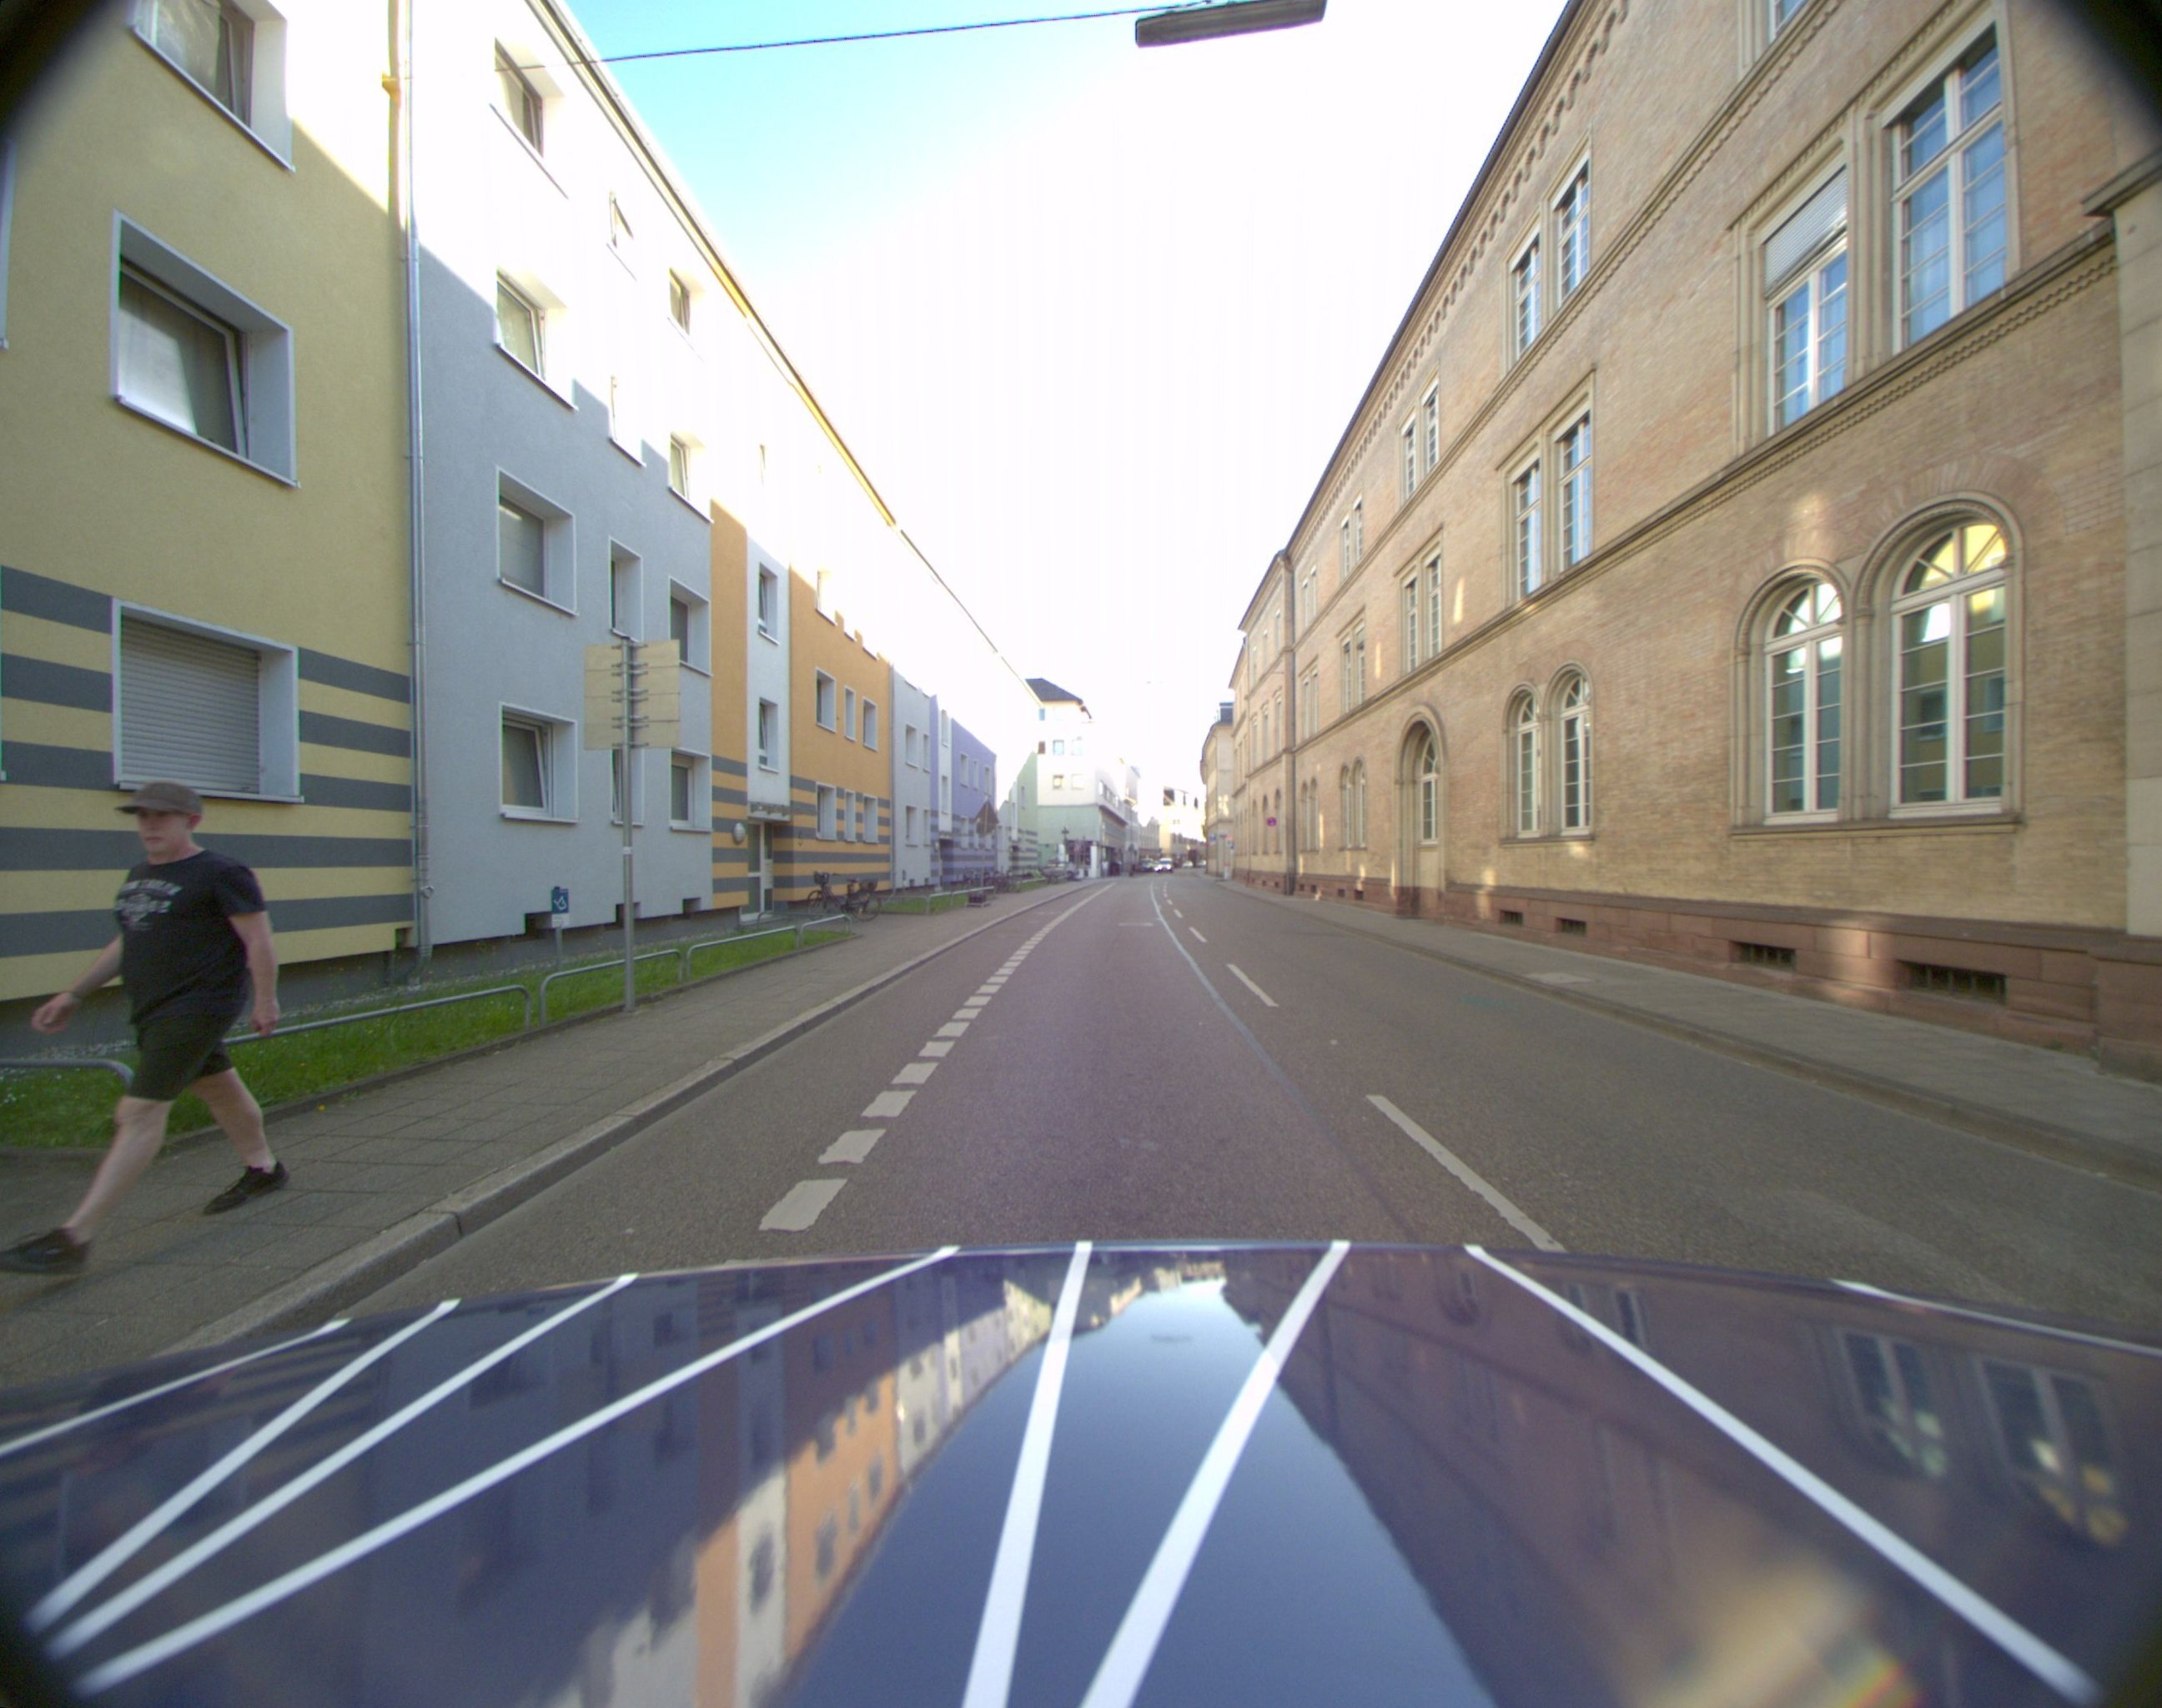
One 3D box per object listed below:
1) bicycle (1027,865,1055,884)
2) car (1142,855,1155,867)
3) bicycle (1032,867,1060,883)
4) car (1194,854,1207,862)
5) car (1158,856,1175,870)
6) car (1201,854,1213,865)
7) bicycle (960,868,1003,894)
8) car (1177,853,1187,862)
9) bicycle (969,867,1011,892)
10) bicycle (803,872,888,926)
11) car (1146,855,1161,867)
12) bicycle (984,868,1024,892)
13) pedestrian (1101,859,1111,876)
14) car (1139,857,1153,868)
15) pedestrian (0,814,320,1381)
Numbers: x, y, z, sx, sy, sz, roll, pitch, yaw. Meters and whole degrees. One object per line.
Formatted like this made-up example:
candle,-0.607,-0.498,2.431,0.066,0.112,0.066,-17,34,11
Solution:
bicycle,-2.422,1.235,46.131,1.711,1.097,0.584,1,0,-2
car,9.467,0.972,106.056,1.535,1.714,3.741,0,0,8
bicycle,-2.174,1.300,47.591,1.711,0.972,0.516,1,0,-2
car,25.750,0.862,163.631,1.925,1.714,4.236,0,0,19
car,10.810,1.157,96.057,1.921,1.712,4.964,0,0,9
car,19.962,0.845,120.430,1.662,1.714,3.743,0,0,14
bicycle,-4.154,1.142,31.869,1.710,1.039,0.636,1,0,2
car,19.923,0.668,149.665,1.534,1.714,3.743,0,0,16
bicycle,-3.952,1.104,33.011,1.710,1.075,0.636,1,0,1
bicycle,-5.293,1.006,17.116,1.711,1.152,0.636,1,0,-2
car,10.736,1.081,112.523,1.861,1.714,3.742,0,0,11
bicycle,-3.393,1.169,33.773,1.711,1.029,0.636,1,0,-2
pedestrian,2.171,1.151,65.410,0.707,1.510,0.662,0,0,19
car,8.641,1.143,100.782,1.634,1.405,3.687,0,0,8
pedestrian,-3.651,0.757,2.826,0.646,1.778,0.916,3,1,4
